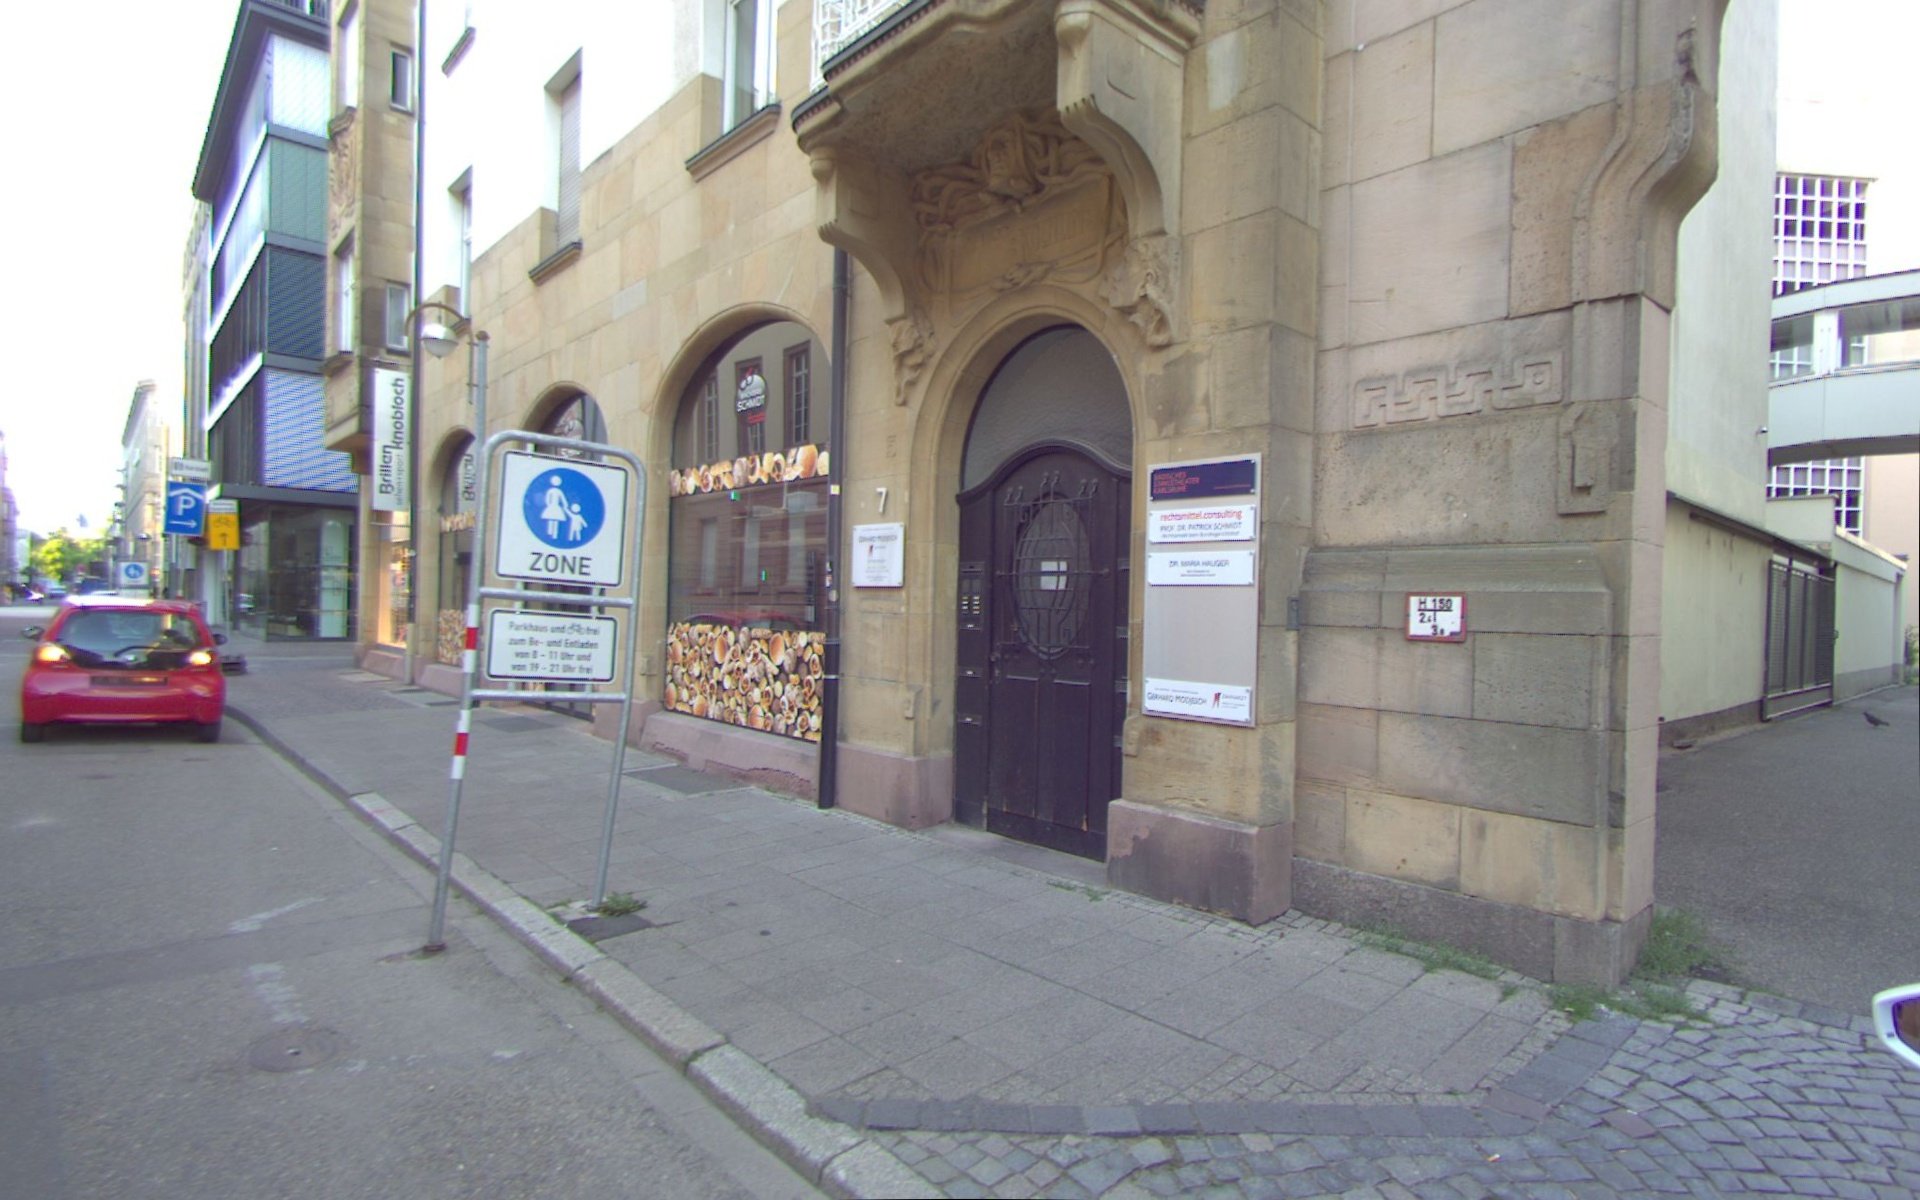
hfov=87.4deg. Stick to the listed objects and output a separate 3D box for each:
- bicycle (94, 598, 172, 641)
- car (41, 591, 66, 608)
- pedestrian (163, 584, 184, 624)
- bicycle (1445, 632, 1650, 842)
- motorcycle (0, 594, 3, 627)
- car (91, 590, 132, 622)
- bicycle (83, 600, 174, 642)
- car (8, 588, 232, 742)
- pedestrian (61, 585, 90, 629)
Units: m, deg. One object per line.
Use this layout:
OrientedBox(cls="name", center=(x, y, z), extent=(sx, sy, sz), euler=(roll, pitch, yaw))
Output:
OrientedBox(cls="bicycle", center=(-22.014, 0.509, 26.768), extent=(1.595, 1.133, 0.613), euler=(0, 0, -41))
OrientedBox(cls="car", center=(-72.891, -0.064, 80.804), extent=(1.416, 1.317, 3.519), euler=(0, 0, -41))
OrientedBox(cls="pedestrian", center=(-33.953, 0.164, 43.370), extent=(0.665, 1.693, 0.755), euler=(2, -1, -40))
OrientedBox(cls="bicycle", center=(3.639, 0.757, 6.160), extent=(1.743, 1.094, 0.589), euler=(1, 0, -43))
OrientedBox(cls="motorcycle", center=(-38.844, 0.382, 39.127), extent=(2.177, 1.299, 0.644), euler=(3, -1, -40))
OrientedBox(cls="car", center=(-40.517, 0.275, 47.959), extent=(1.416, 1.436, 3.847), euler=(0, 0, -41))
OrientedBox(cls="bicycle", center=(-23.061, 0.565, 27.884), extent=(1.939, 1.145, 0.613), euler=(0, 0, -41))
OrientedBox(cls="car", center=(-9.317, 0.664, 11.203), extent=(1.626, 1.460, 3.119), euler=(5, -3, -40))
OrientedBox(cls="pedestrian", center=(-34.487, 0.283, 39.165), extent=(0.806, 1.693, 0.919), euler=(2, -1, -43))
